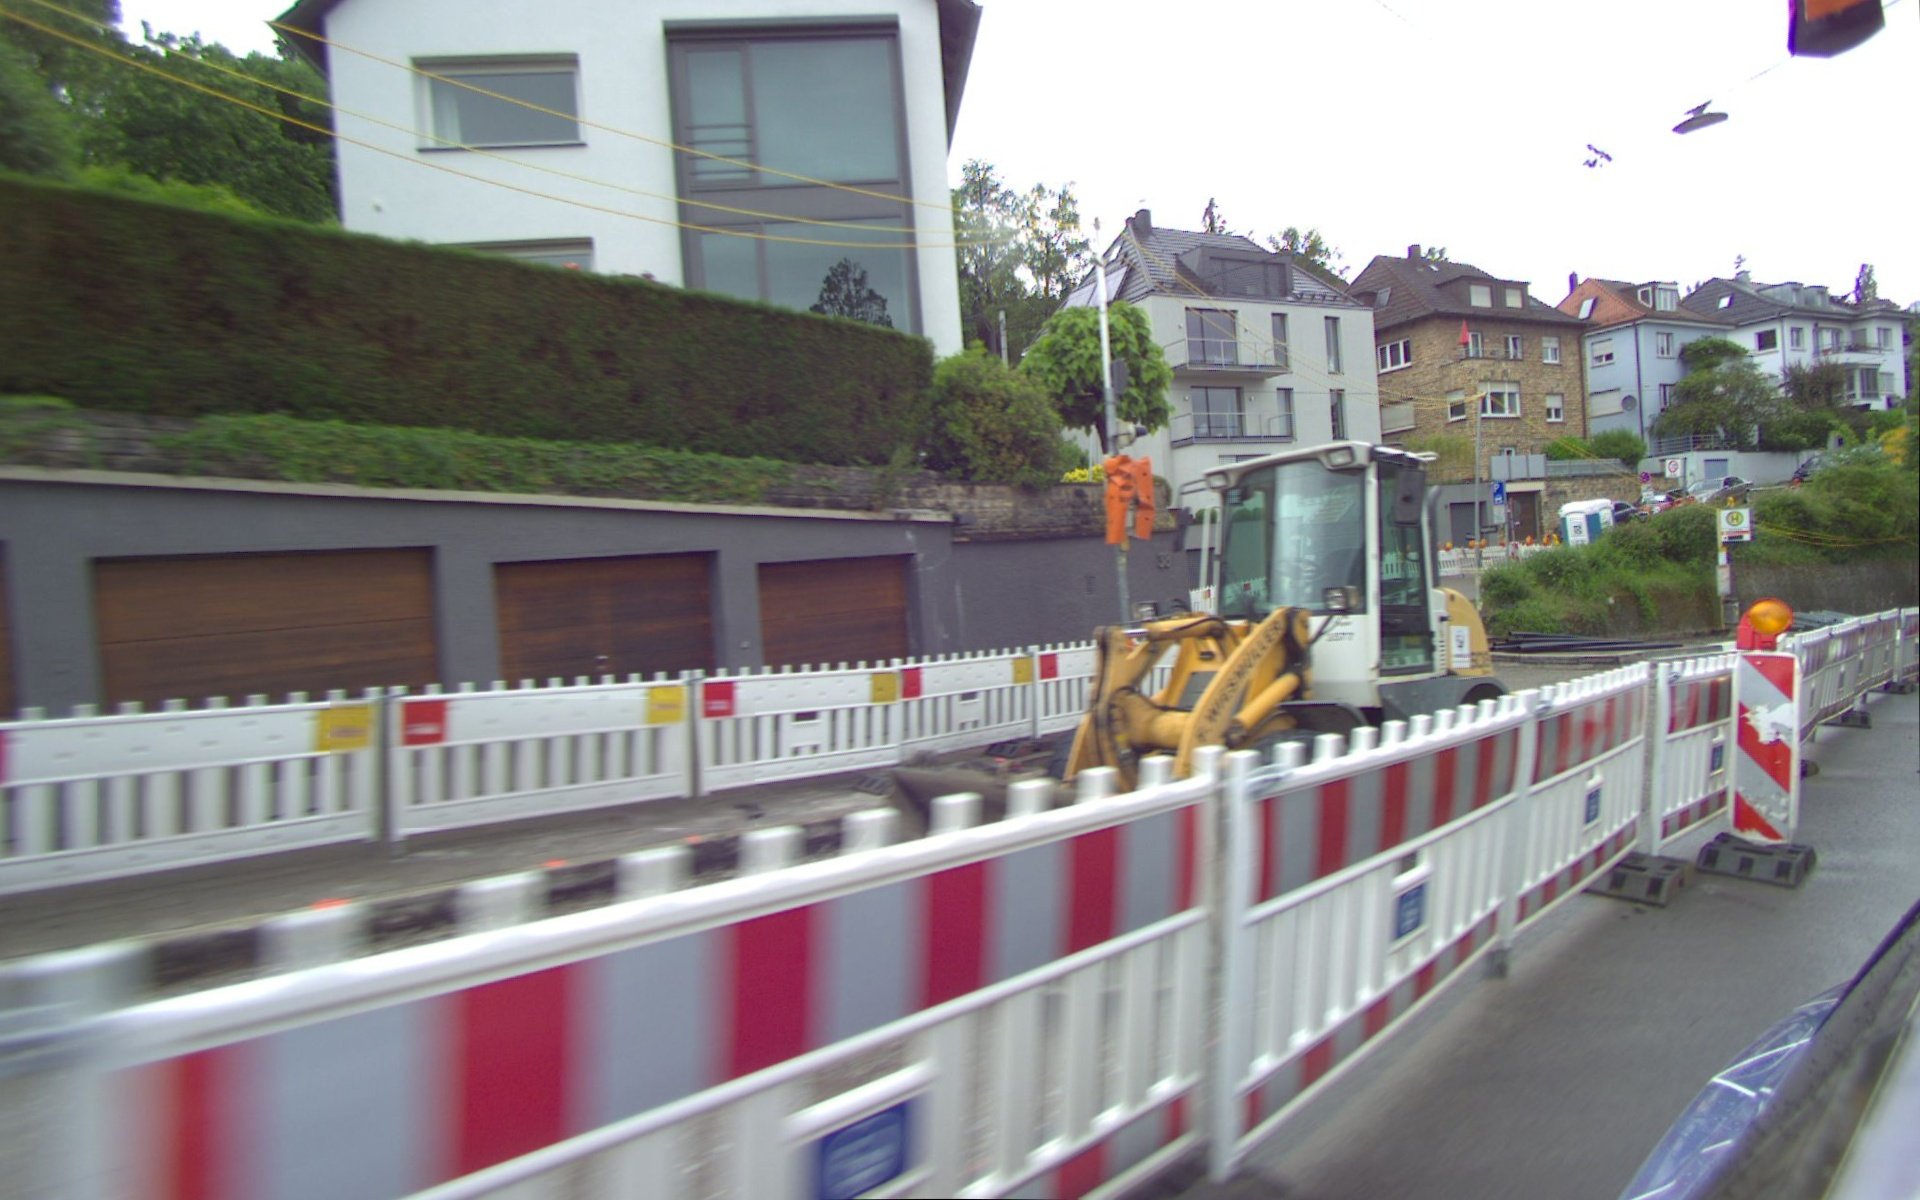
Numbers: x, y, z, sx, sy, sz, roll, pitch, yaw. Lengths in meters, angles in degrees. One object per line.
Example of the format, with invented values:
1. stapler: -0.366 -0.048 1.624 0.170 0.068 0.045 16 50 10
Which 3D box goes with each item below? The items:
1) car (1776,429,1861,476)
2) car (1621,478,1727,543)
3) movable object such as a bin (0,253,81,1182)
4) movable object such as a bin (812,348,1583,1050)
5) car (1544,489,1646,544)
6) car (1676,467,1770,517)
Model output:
1. car: 43.716 -7.503 51.520 3.892 1.652 1.864 -13 6 -27
2. car: 31.188 -3.918 44.192 4.347 2.100 1.904 -11 6 -27
3. movable object such as a bin: -5.611 0.389 2.196 5.578 2.874 2.089 0 -1 -41
4. movable object such as a bin: 1.996 0.270 6.771 5.581 2.873 2.089 -4 2 -41
5. car: 26.339 -3.446 41.971 3.763 1.653 1.864 -12 6 -27
6. car: 34.813 -4.914 46.172 3.891 1.653 1.864 -11 6 -27
